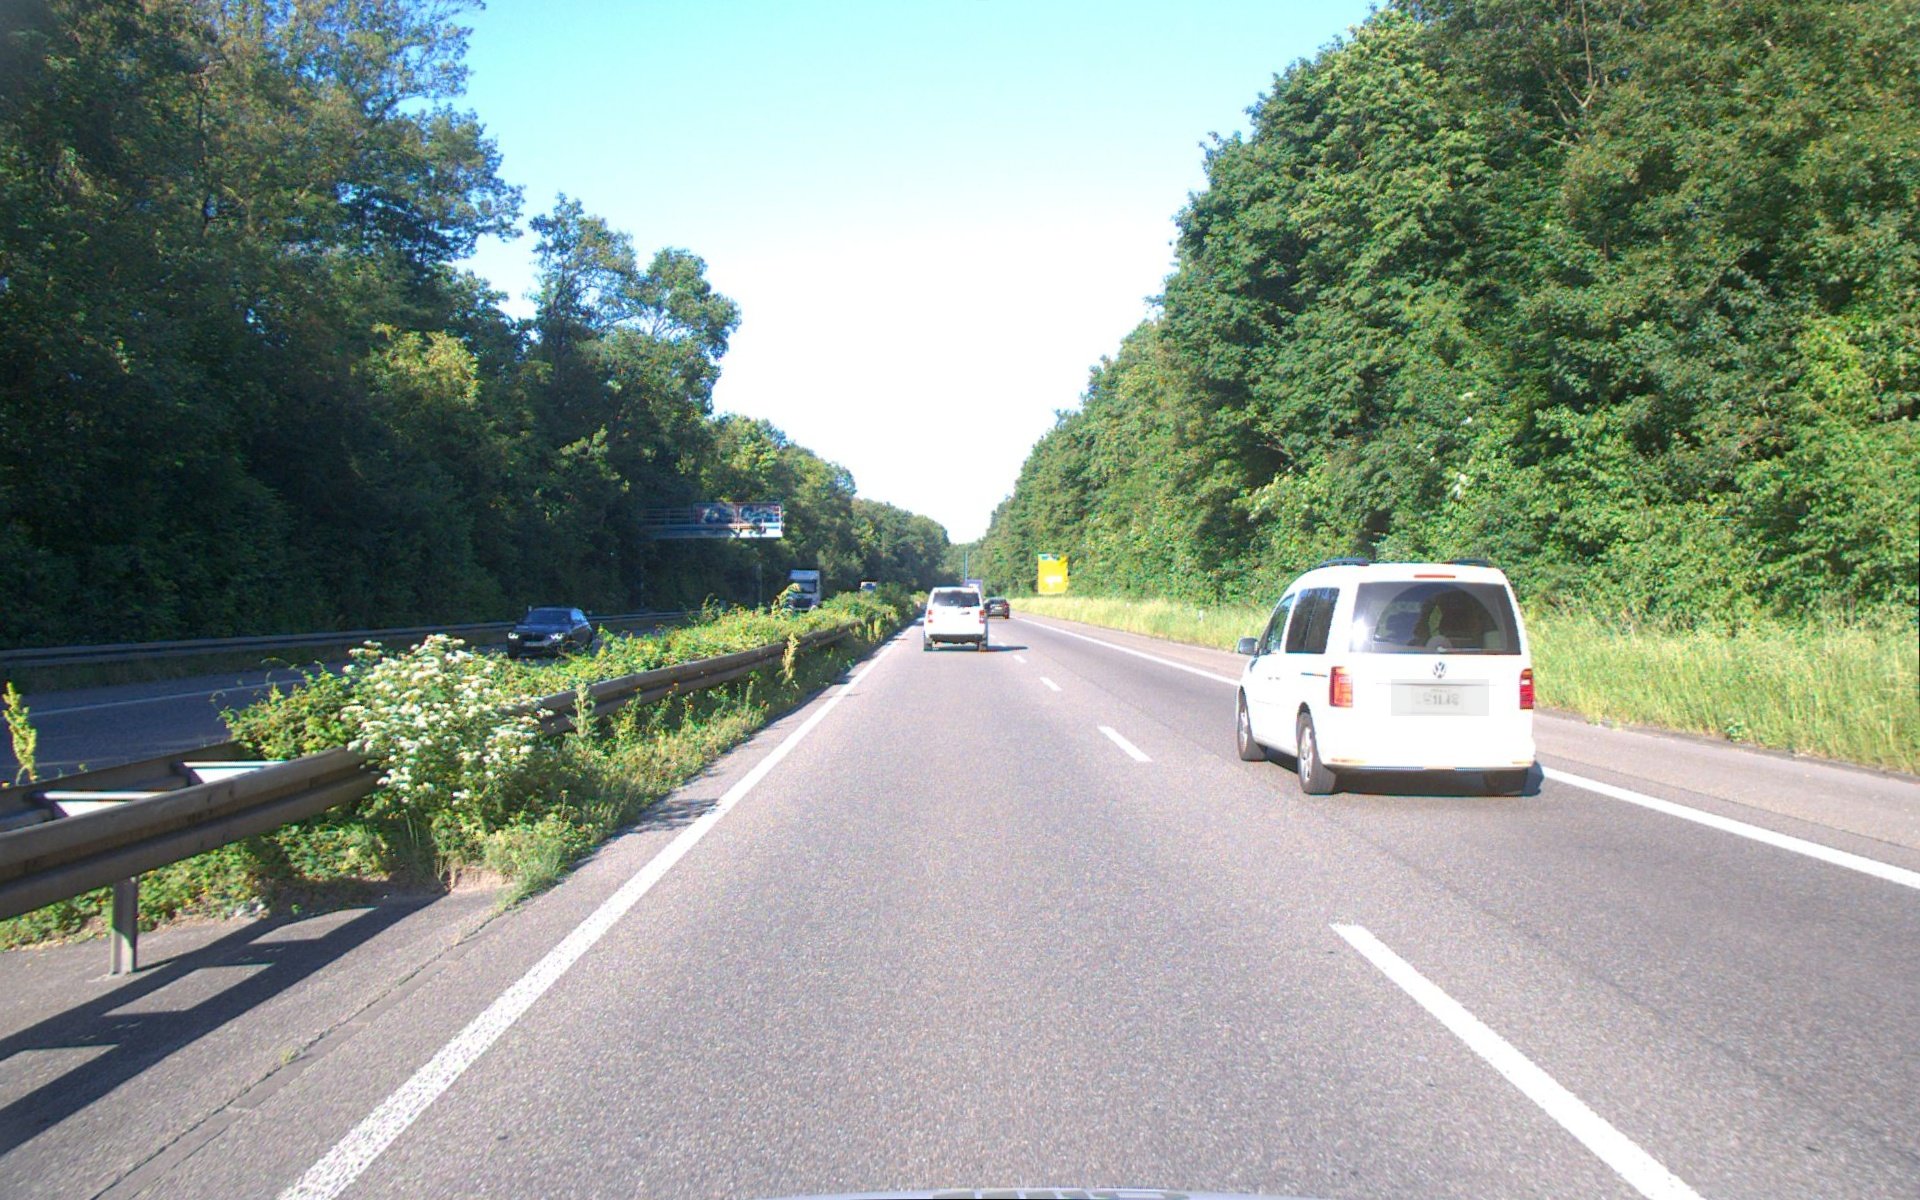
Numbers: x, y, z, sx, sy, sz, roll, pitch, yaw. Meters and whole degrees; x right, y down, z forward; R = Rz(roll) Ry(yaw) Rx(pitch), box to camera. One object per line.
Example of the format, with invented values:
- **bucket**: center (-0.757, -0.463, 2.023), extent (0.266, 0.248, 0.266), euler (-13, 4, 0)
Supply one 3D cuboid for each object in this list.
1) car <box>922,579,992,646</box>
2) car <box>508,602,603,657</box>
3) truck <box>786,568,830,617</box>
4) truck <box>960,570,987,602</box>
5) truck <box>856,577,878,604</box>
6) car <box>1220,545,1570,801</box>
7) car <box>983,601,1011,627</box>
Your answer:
- **car**: center (-0.112, 0.358, 47.756), extent (1.912, 1.813, 4.586), euler (1, 0, -1)
- **car**: center (-11.780, 0.824, 48.447), extent (1.698, 1.433, 4.556), euler (1, 1, -1)
- **truck**: center (-13.039, -0.599, 143.181), extent (2.713, 4.024, 11.465), euler (1, 0, 0)
- **truck**: center (1.902, -1.935, 234.805), extent (3.658, 4.419, 9.303), euler (1, 0, 0)
- **truck**: center (-14.545, -1.458, 259.243), extent (3.162, 4.083, 5.676), euler (1, 0, -1)
- **car**: center (3.556, 0.554, 14.416), extent (1.762, 1.844, 4.586), euler (1, 0, -1)
- **car**: center (2.731, 1.025, 122.734), extent (1.912, 1.813, 4.586), euler (1, 0, -1)
